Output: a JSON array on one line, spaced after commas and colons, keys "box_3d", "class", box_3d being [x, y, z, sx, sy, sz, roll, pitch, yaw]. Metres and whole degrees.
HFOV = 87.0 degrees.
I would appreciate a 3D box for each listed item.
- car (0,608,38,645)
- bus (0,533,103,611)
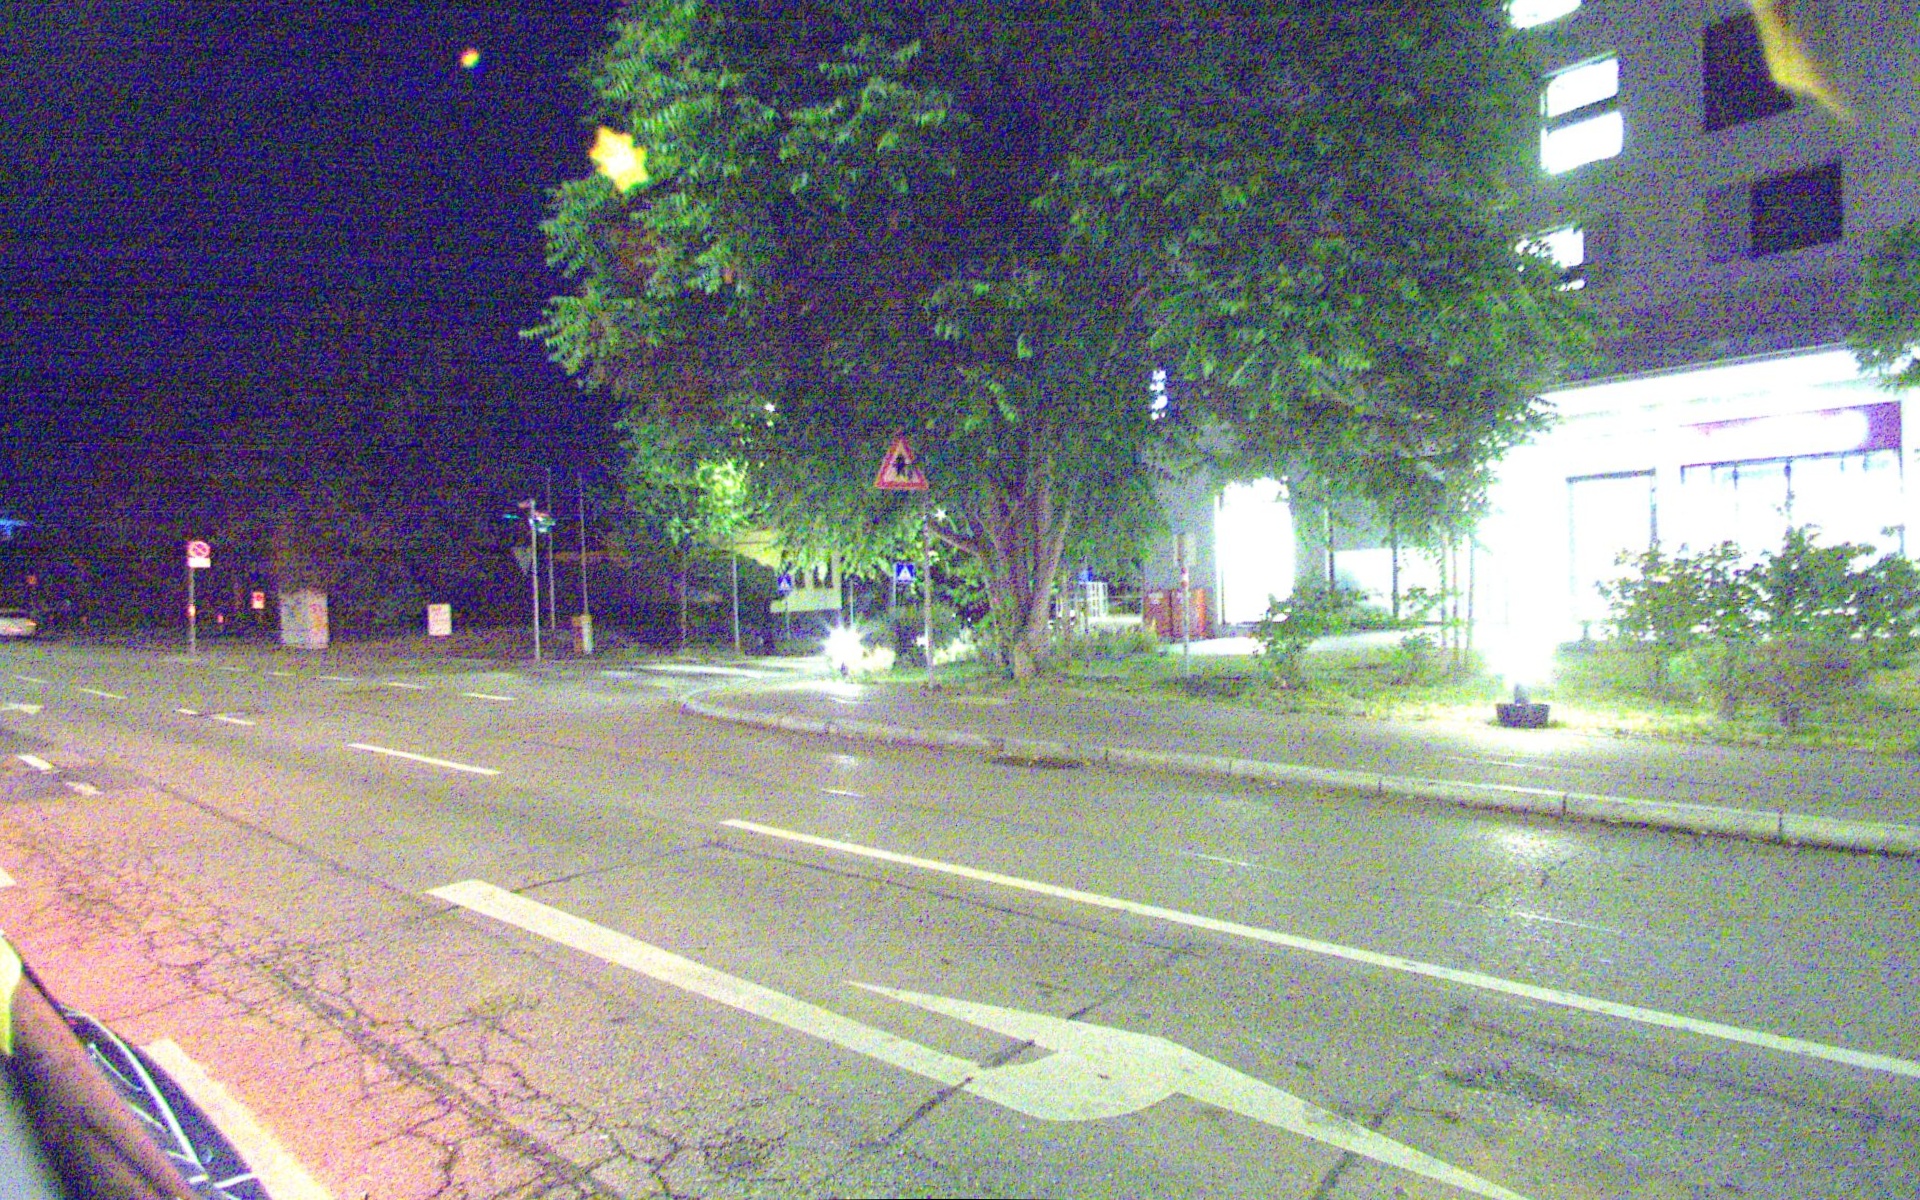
[{"box_3d": [-43.169, 1.172, 45.606, 3.995, 1.604, 1.784, -1, 0, 39], "class": "car"}, {"box_3d": [-88.527, -2.491, 98.161, 14.776, 6.990, 6.056, -1, 0, 41], "class": "bus"}]
